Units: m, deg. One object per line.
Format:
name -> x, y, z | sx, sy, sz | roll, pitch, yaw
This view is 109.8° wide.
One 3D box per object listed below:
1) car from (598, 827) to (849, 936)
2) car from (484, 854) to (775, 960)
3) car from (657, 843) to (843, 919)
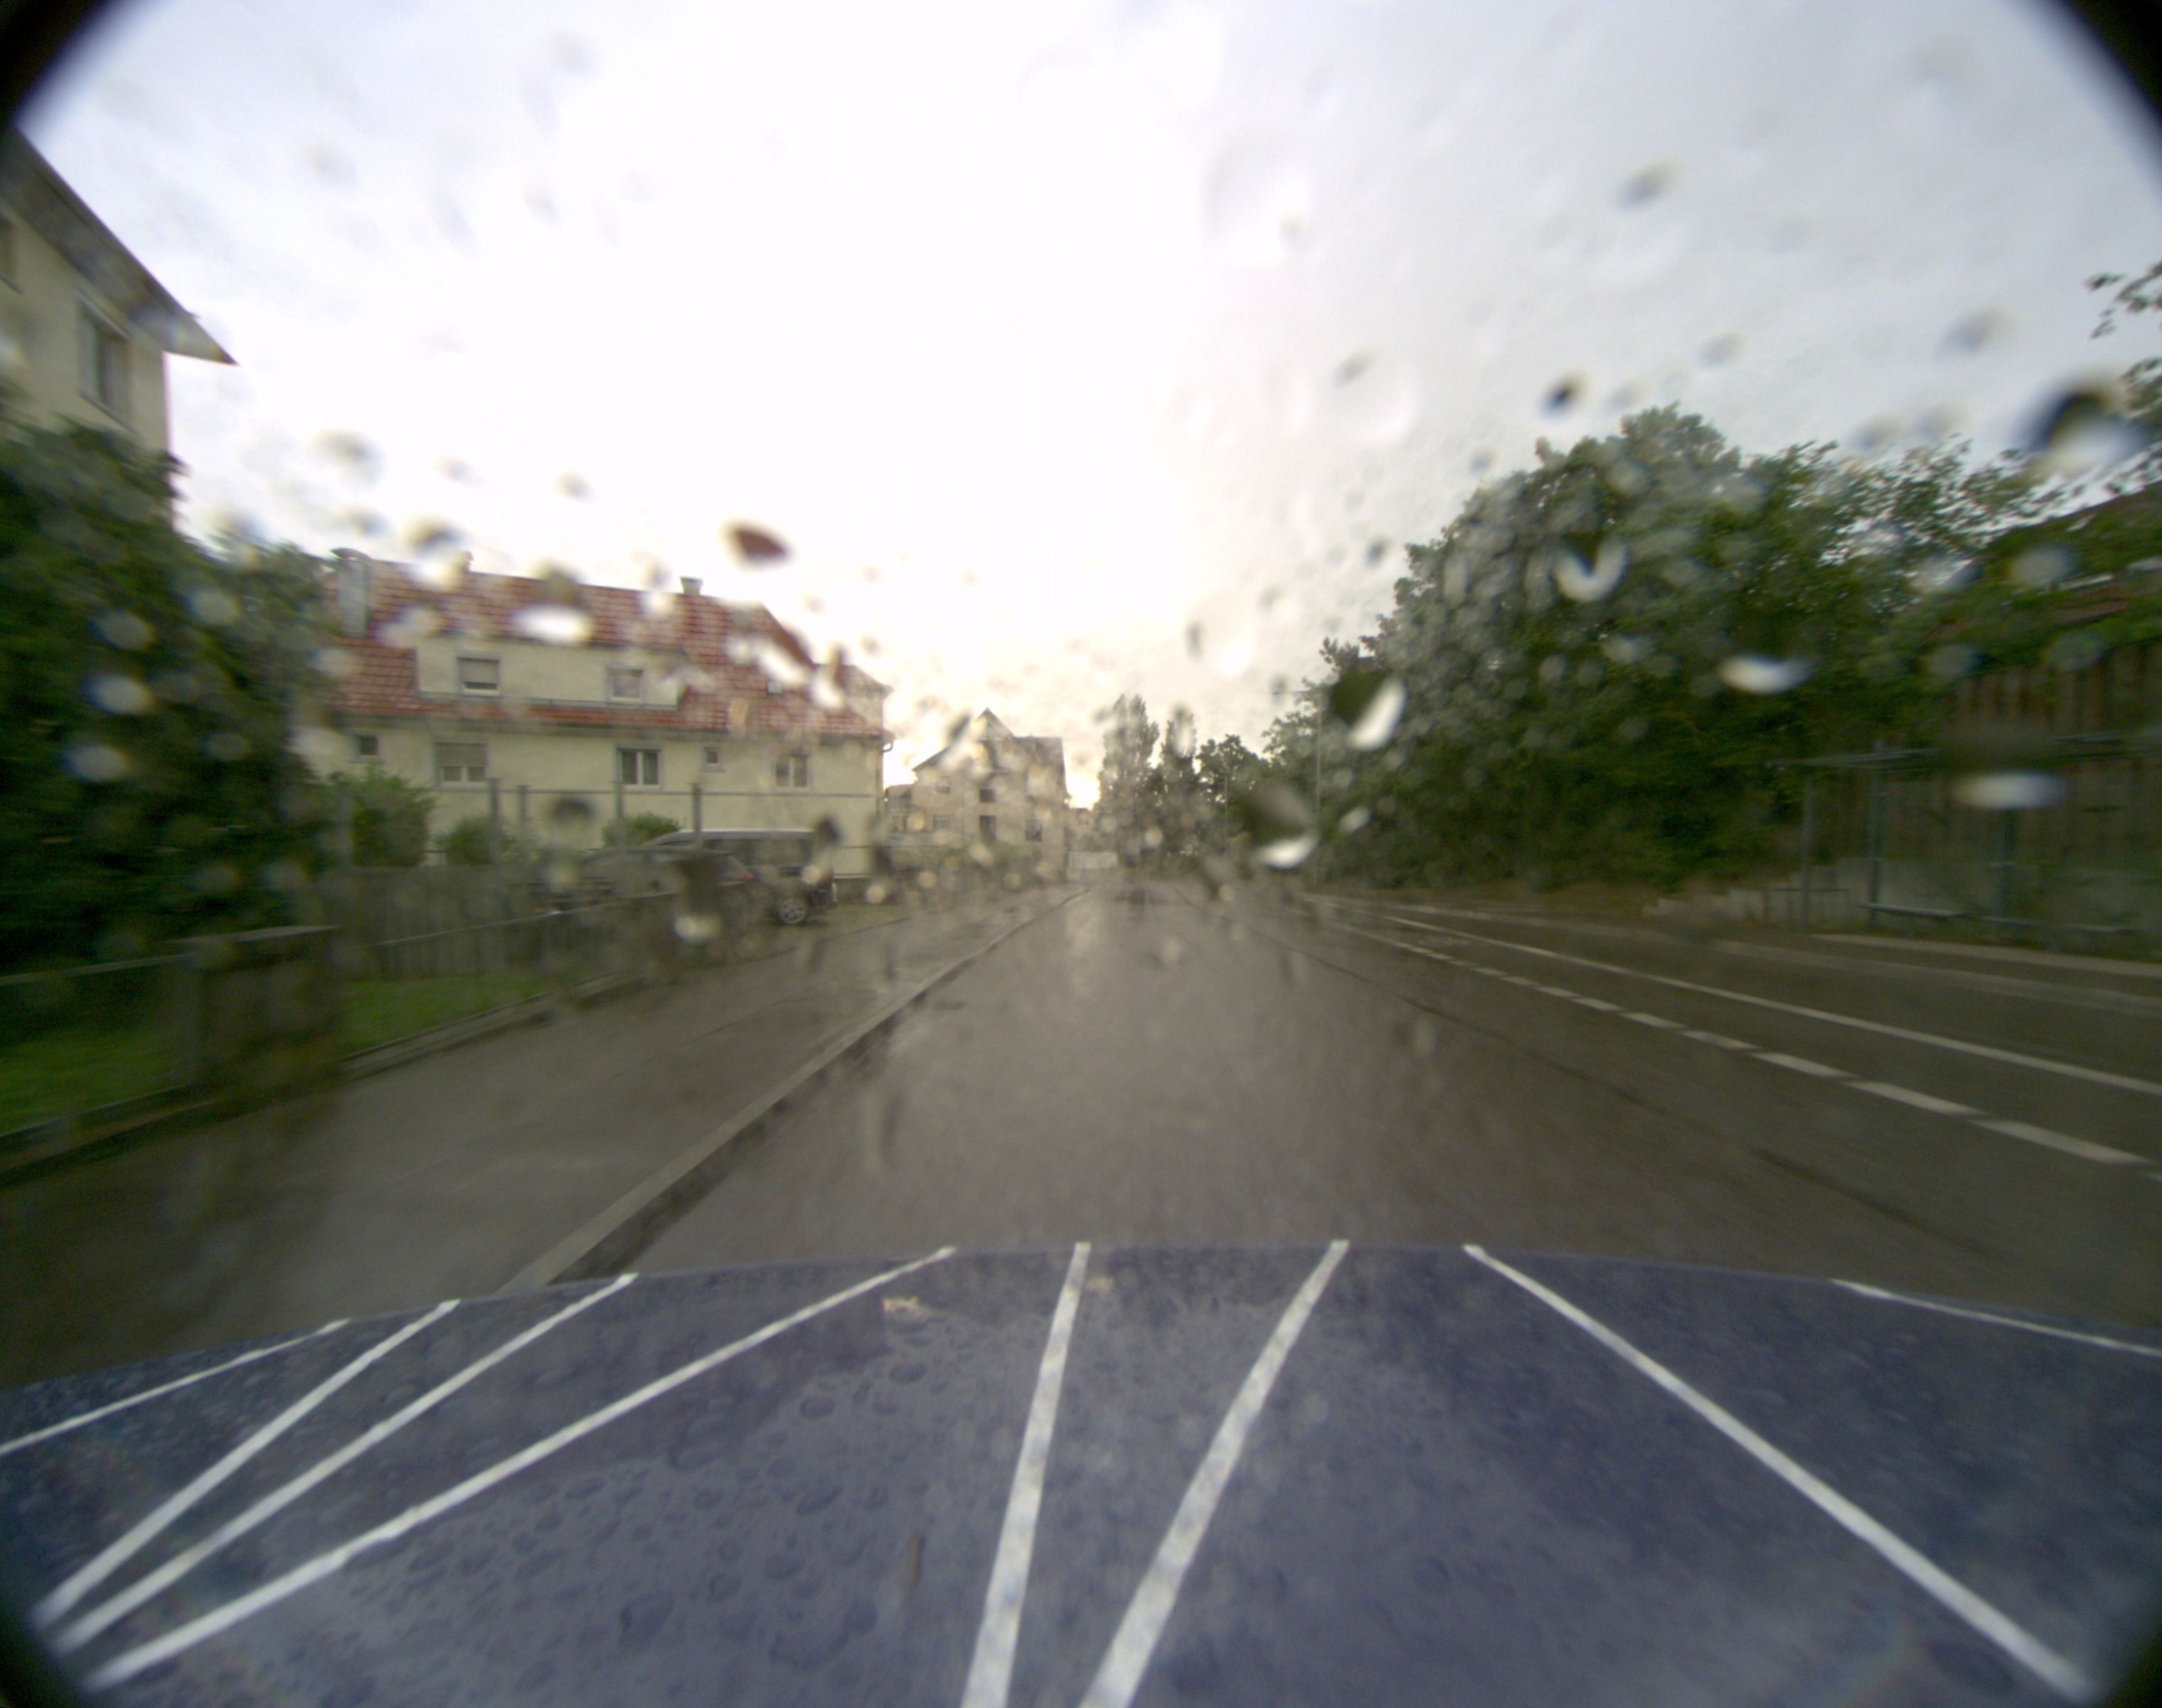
car -> -6.508, 0.478, 14.106 | 3.941, 1.772, 1.766 | 2, 2, -26
car -> -6.627, 0.738, 11.504 | 3.531, 1.331, 1.683 | 2, 2, -28
car -> -7.156, 0.573, 16.596 | 3.531, 1.466, 1.684 | 2, 2, -25
